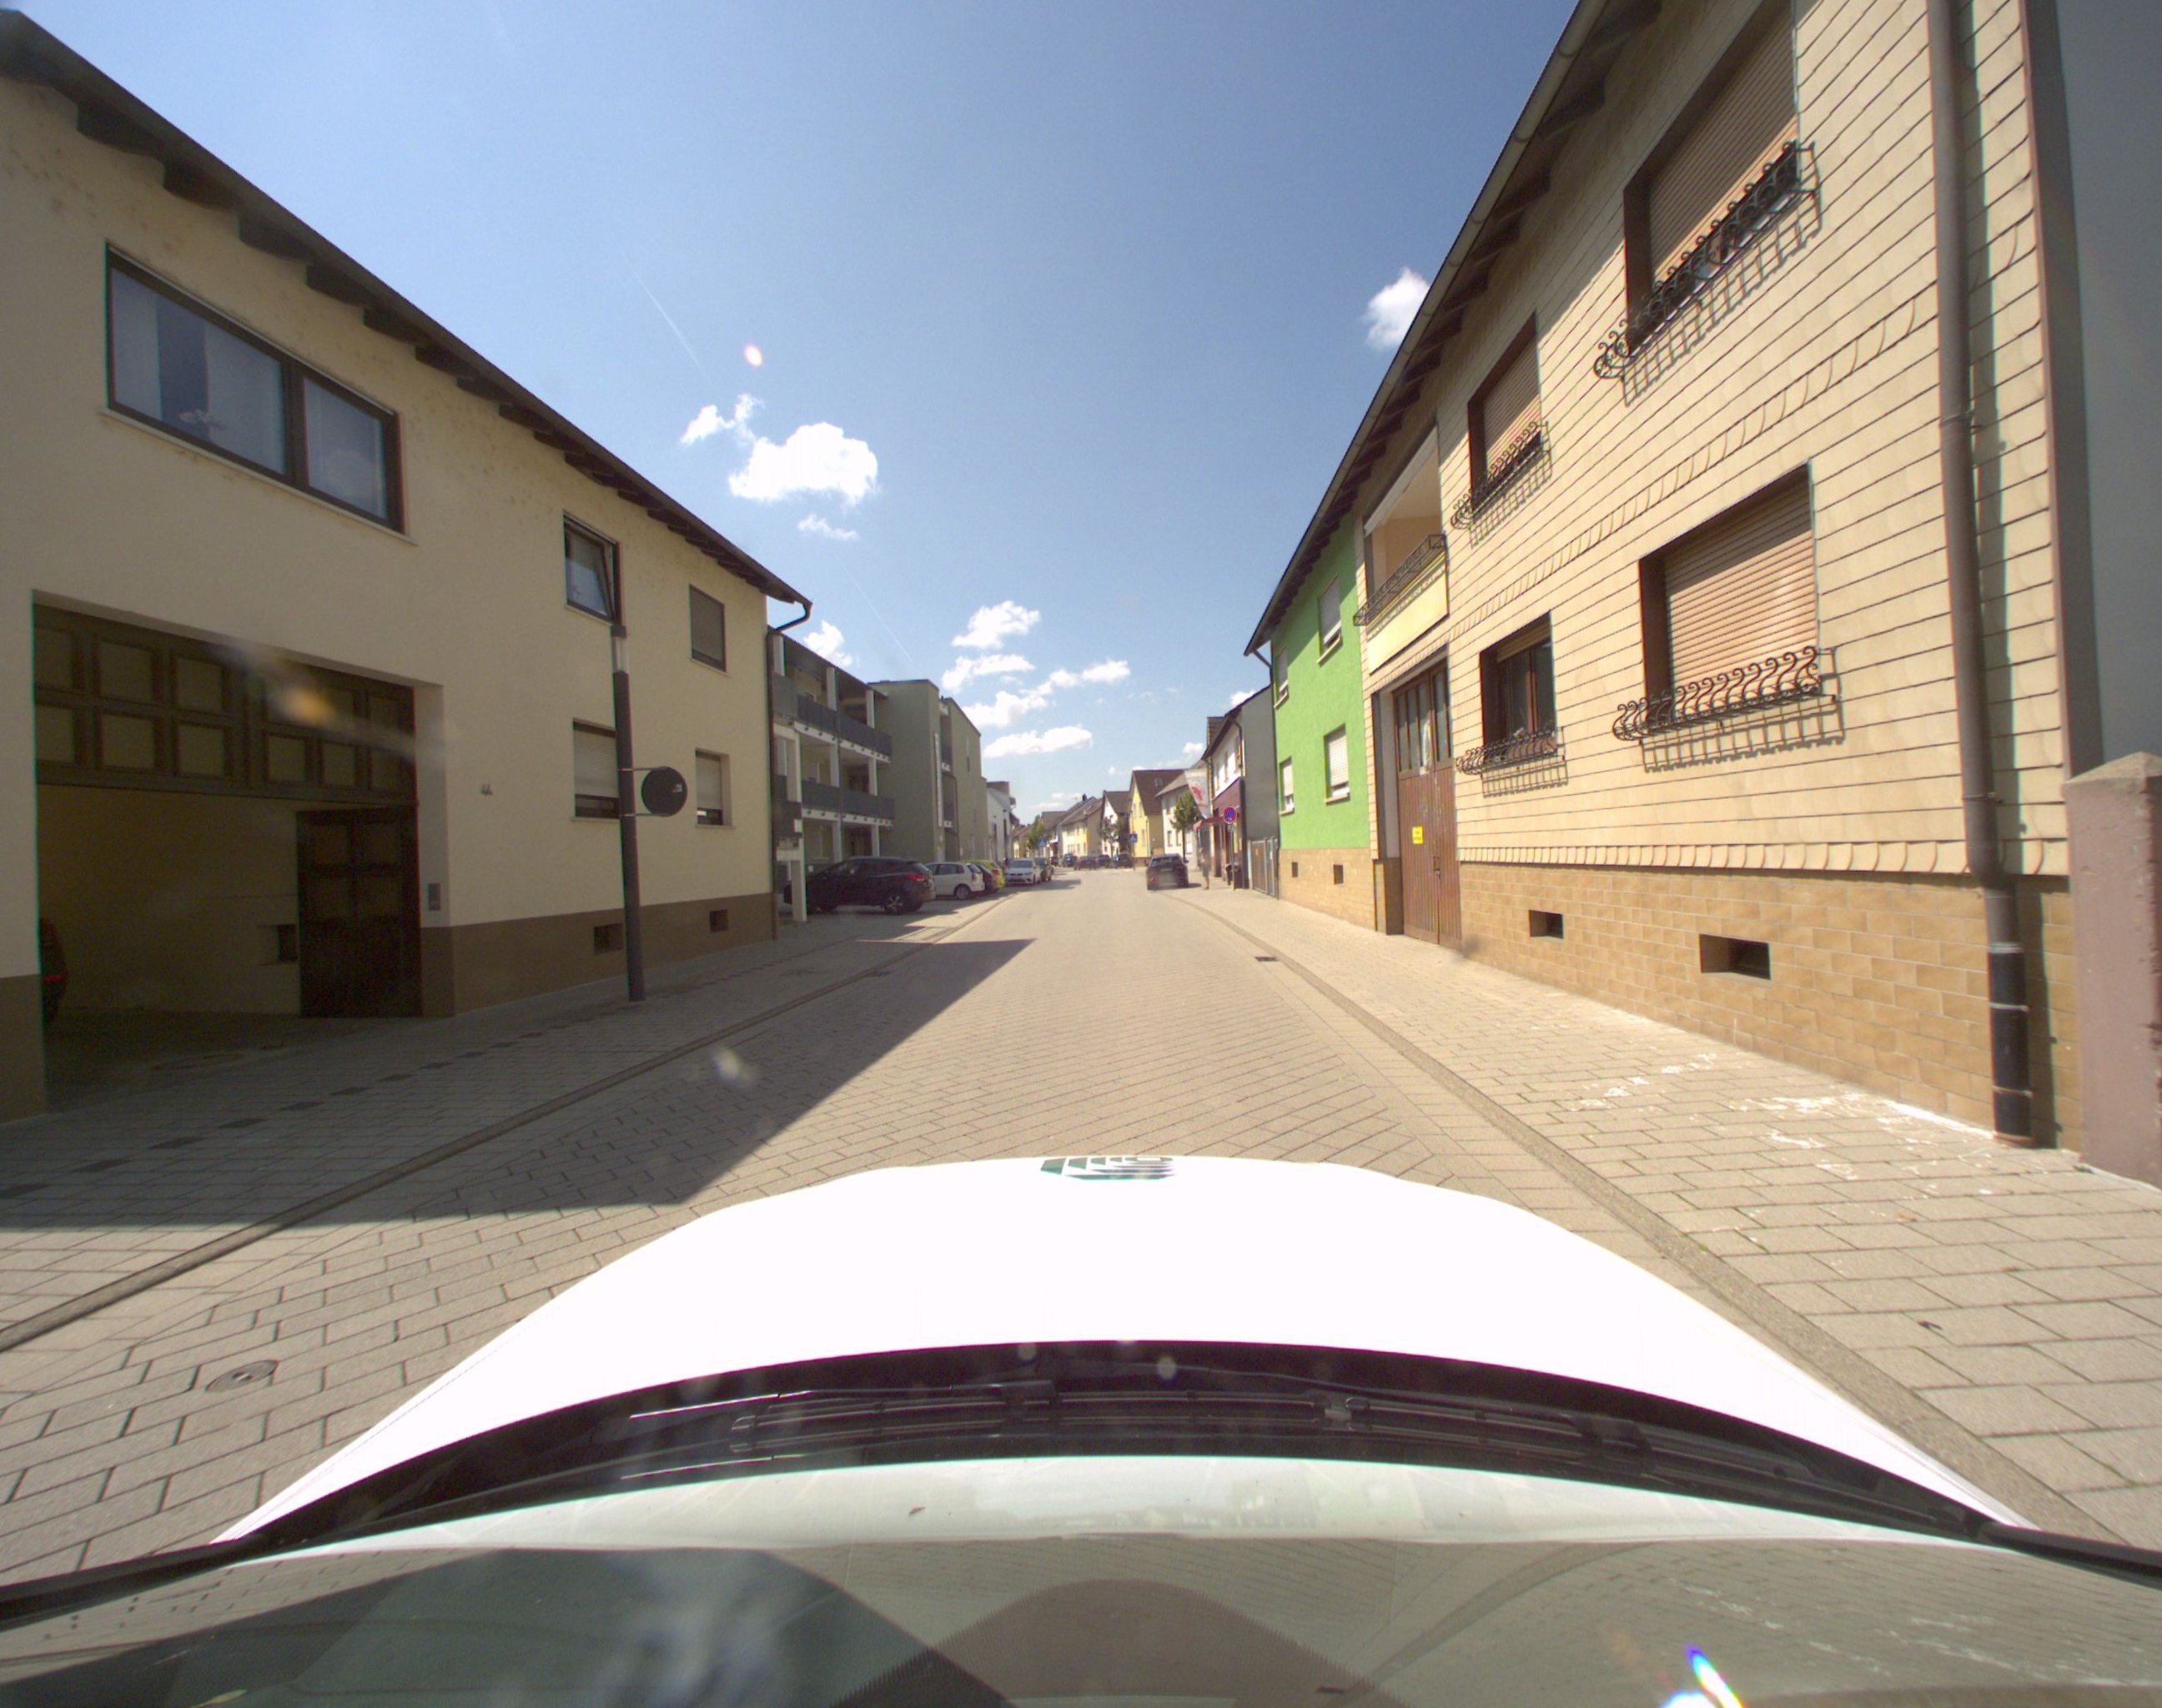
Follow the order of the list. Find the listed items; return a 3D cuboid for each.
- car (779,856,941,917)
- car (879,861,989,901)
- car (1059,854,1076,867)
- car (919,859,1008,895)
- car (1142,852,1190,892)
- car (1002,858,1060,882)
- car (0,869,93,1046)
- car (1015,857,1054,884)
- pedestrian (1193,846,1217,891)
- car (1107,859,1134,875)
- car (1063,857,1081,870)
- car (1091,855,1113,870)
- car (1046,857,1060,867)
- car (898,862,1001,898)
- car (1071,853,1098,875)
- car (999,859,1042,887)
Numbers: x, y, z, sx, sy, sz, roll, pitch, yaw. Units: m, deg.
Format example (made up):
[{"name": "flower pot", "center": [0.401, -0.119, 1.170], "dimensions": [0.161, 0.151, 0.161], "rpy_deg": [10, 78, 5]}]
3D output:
[{"name": "car", "center": [-6.409, 0.916, 23.945], "dimensions": [4.201, 1.658, 1.786], "rpy_deg": [-1, 0, 3]}, {"name": "car", "center": [-5.701, 1.037, 31.832], "dimensions": [3.882, 1.502, 1.753], "rpy_deg": [0, 0, 5]}, {"name": "car", "center": [-2.019, 0.948, 118.979], "dimensions": [1.906, 1.871, 3.989], "rpy_deg": [-3, 0, -8]}, {"name": "car", "center": [-5.242, 1.007, 36.634], "dimensions": [3.675, 1.525, 1.675], "rpy_deg": [-1, 0, 4]}, {"name": "car", "center": [3.743, 0.741, 35.603], "dimensions": [1.848, 1.459, 4.595], "rpy_deg": [-5, 0, 7]}, {"name": "car", "center": [-3.727, 1.208, 61.012], "dimensions": [4.088, 1.438, 1.767], "rpy_deg": [-4, 0, 4]}, {"name": "car", "center": [-12.029, 0.967, 7.492], "dimensions": [3.965, 1.625, 1.894], "rpy_deg": [0, 0, 7]}, {"name": "car", "center": [-2.852, 1.004, 50.767], "dimensions": [1.805, 1.490, 4.282], "rpy_deg": [-1, 0, 4]}, {"name": "pedestrian", "center": [4.765, 0.541, 31.365], "dimensions": [0.726, 1.640, 0.750], "rpy_deg": [-6, -1, 6]}, {"name": "car", "center": [3.960, 1.299, 82.616], "dimensions": [1.828, 1.471, 4.264], "rpy_deg": [-5, 0, -8]}, {"name": "car", "center": [-1.253, 1.330, 113.353], "dimensions": [1.876, 1.591, 3.989], "rpy_deg": [-3, 0, -8]}, {"name": "car", "center": [2.397, 0.905, 92.211], "dimensions": [1.845, 1.562, 3.683], "rpy_deg": [-3, 0, -8]}, {"name": "car", "center": [-4.438, 1.253, 127.805], "dimensions": [1.753, 1.492, 3.989], "rpy_deg": [-3, 0, -8]}, {"name": "car", "center": [-5.472, 1.071, 34.246], "dimensions": [3.969, 1.441, 1.693], "rpy_deg": [0, 0, 3]}, {"name": "car", "center": [0.281, 0.953, 82.233], "dimensions": [1.993, 2.057, 4.361], "rpy_deg": [-3, 0, -8]}, {"name": "car", "center": [-3.299, 1.013, 45.031], "dimensions": [1.750, 1.411, 3.882], "rpy_deg": [-1, 0, 4]}]
